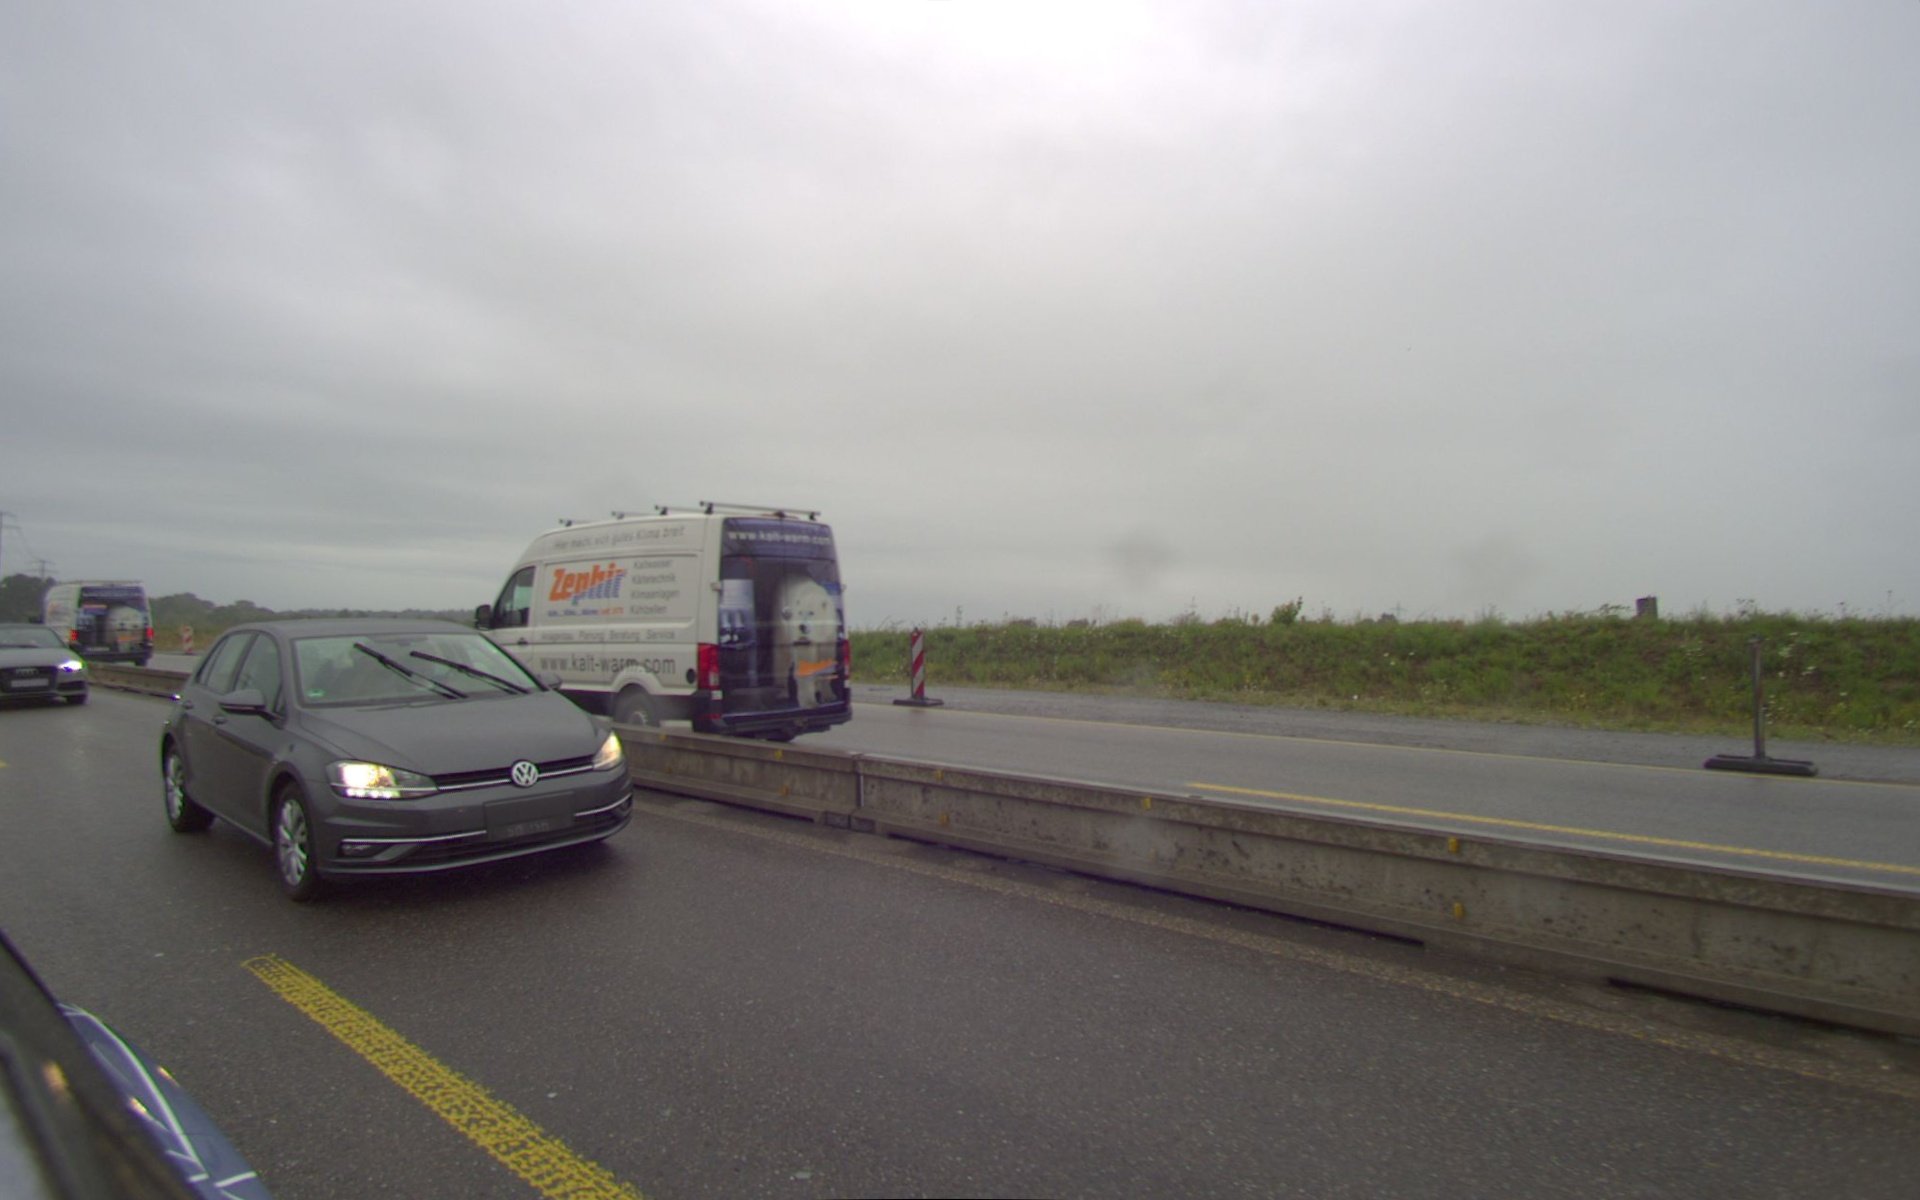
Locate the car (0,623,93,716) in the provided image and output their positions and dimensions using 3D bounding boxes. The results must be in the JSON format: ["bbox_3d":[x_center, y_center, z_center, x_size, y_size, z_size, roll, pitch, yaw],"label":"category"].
[{"bbox_3d":[-16.772,1.147,17.690,4.265,1.407,1.777,0,1,40],"label":"car"}]

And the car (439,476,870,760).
[{"bbox_3d":[-3.845,0.243,11.890,5.954,2.568,2.003,-2,-2,41],"label":"car"}]

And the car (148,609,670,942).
[{"bbox_3d":[-3.682,0.785,6.410,4.079,1.433,1.632,0,0,42],"label":"car"}]

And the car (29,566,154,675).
[{"bbox_3d":[-26.600,0.611,30.915,5.775,3.036,1.973,-2,0,40],"label":"car"}]
